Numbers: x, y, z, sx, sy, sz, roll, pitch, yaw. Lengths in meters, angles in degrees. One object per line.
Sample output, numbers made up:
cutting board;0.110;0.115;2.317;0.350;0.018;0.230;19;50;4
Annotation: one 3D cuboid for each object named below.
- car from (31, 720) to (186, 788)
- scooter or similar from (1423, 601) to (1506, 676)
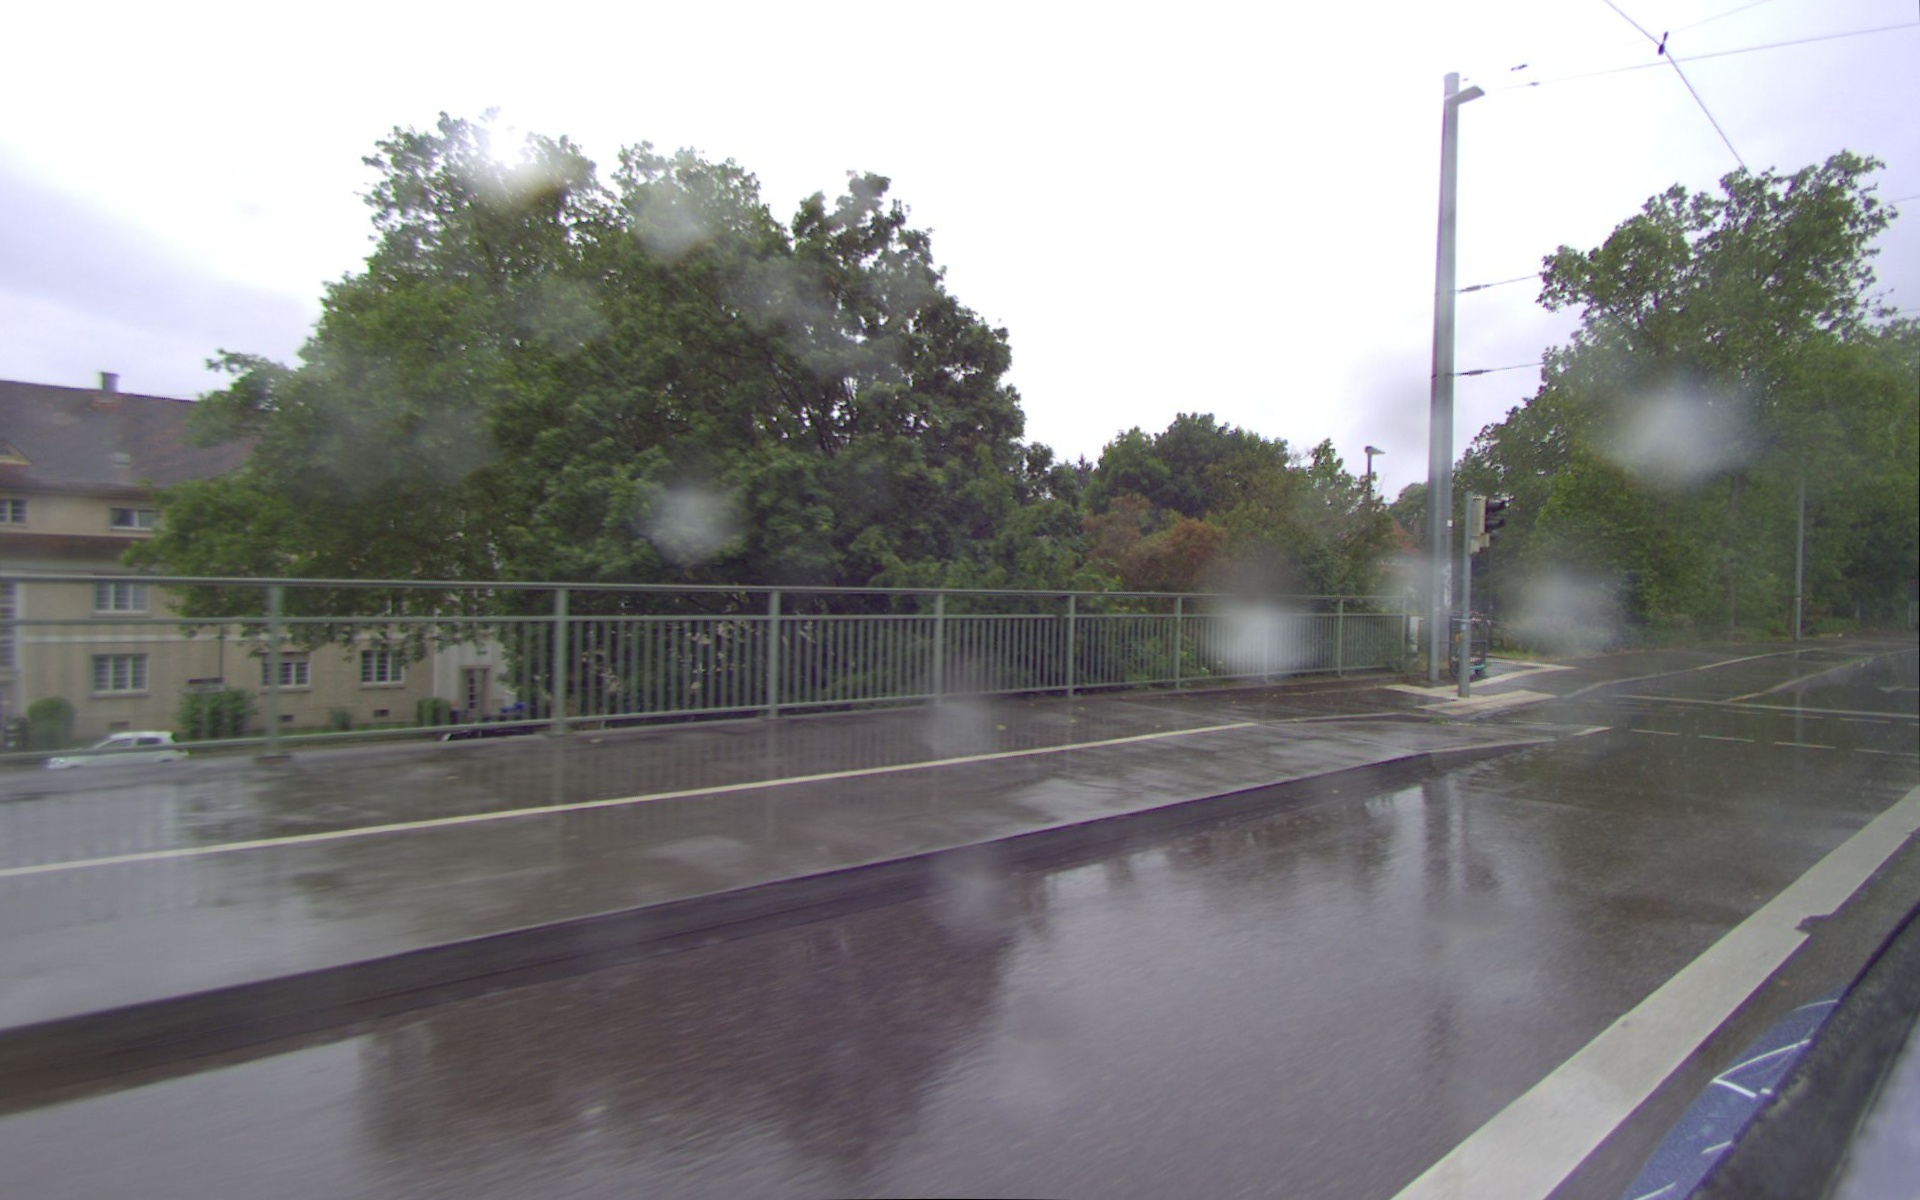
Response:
car;-28.984;5.189;34.569;3.930;1.683;1.939;0;0;-41
scooter or similar;9.353;0.675;18.742;1.617;1.309;0.761;0;0;-38
